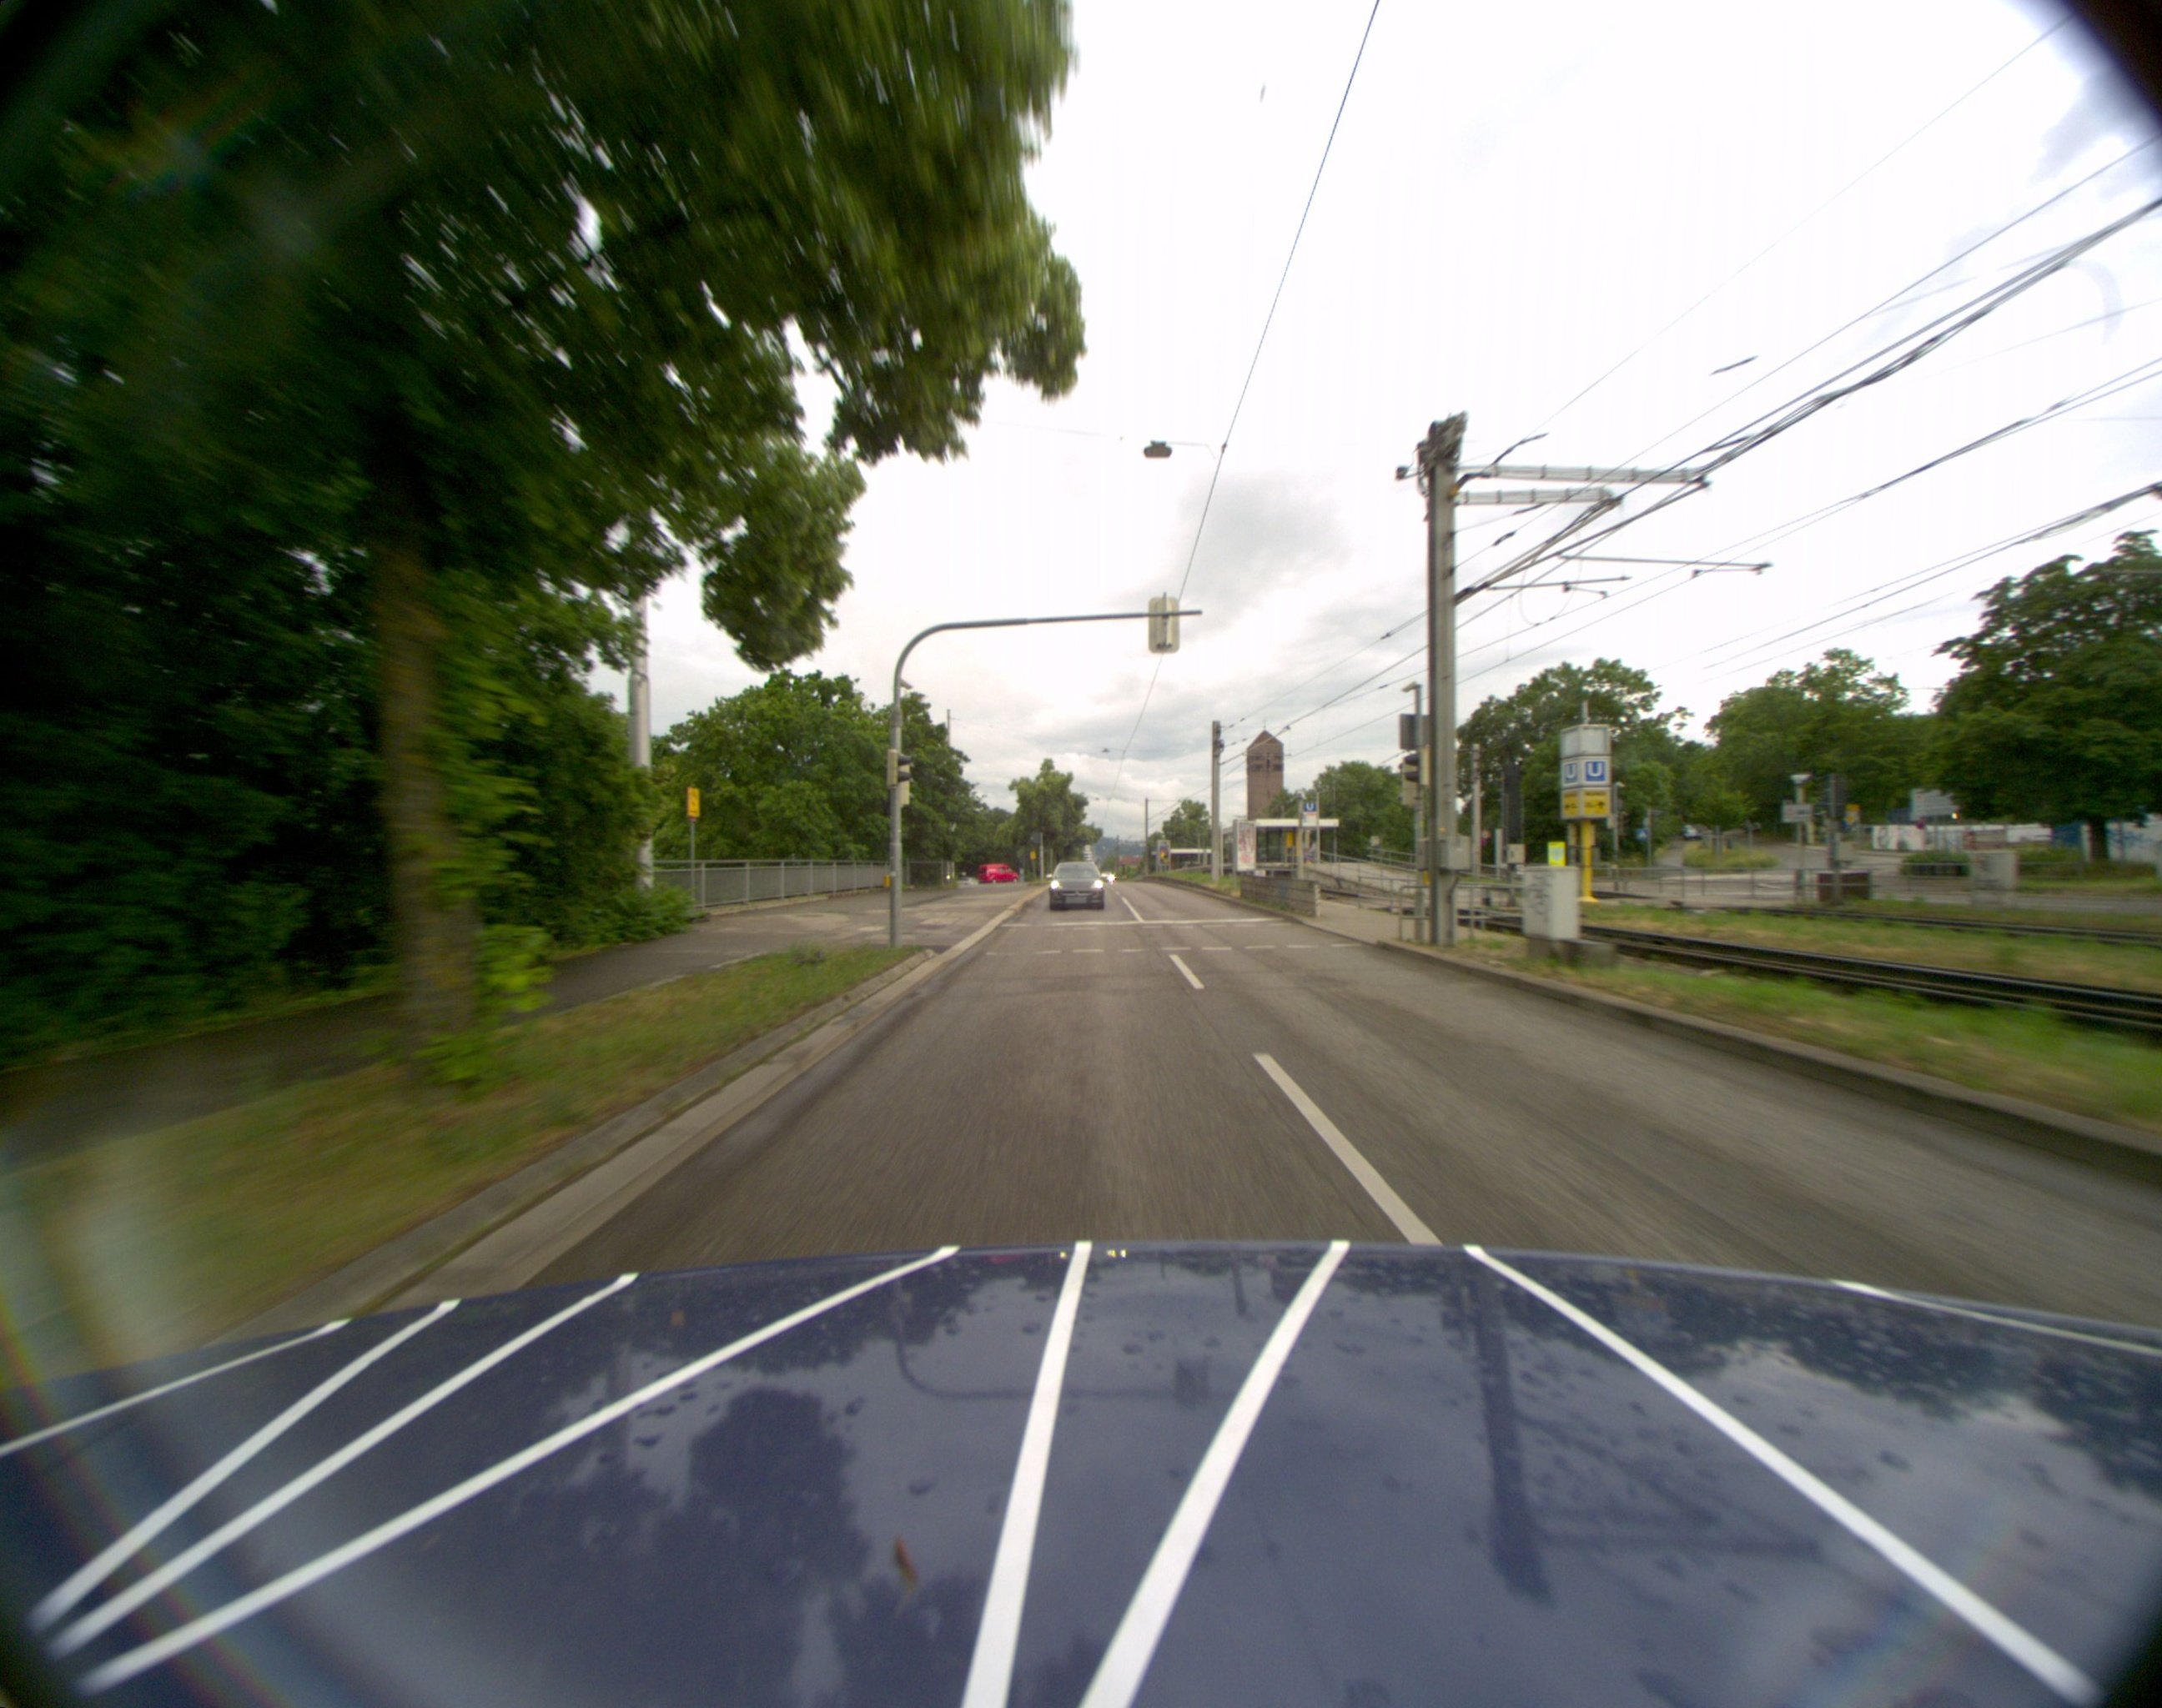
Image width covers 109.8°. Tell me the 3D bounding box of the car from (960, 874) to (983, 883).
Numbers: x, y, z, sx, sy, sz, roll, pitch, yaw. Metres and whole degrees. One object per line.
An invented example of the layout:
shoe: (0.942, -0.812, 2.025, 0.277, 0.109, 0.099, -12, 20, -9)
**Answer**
car: (-18.406, 4.091, 127.667, 3.793, 1.505, 1.893, -1, 0, 45)

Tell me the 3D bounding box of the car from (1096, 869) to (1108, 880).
car: (3.223, 3.205, 118.572, 1.812, 1.566, 3.971, -2, 0, 1)

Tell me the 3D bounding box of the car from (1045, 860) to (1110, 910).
car: (-0.071, 0.964, 24.671, 1.899, 1.432, 4.474, -2, -1, 1)

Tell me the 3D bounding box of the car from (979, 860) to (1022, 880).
car: (-9.546, 1.856, 90.430, 1.994, 2.179, 5.041, -1, 0, 43)

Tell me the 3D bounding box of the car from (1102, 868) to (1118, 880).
car: (3.732, 2.572, 98.822, 1.899, 1.432, 4.247, -2, -1, 1)
